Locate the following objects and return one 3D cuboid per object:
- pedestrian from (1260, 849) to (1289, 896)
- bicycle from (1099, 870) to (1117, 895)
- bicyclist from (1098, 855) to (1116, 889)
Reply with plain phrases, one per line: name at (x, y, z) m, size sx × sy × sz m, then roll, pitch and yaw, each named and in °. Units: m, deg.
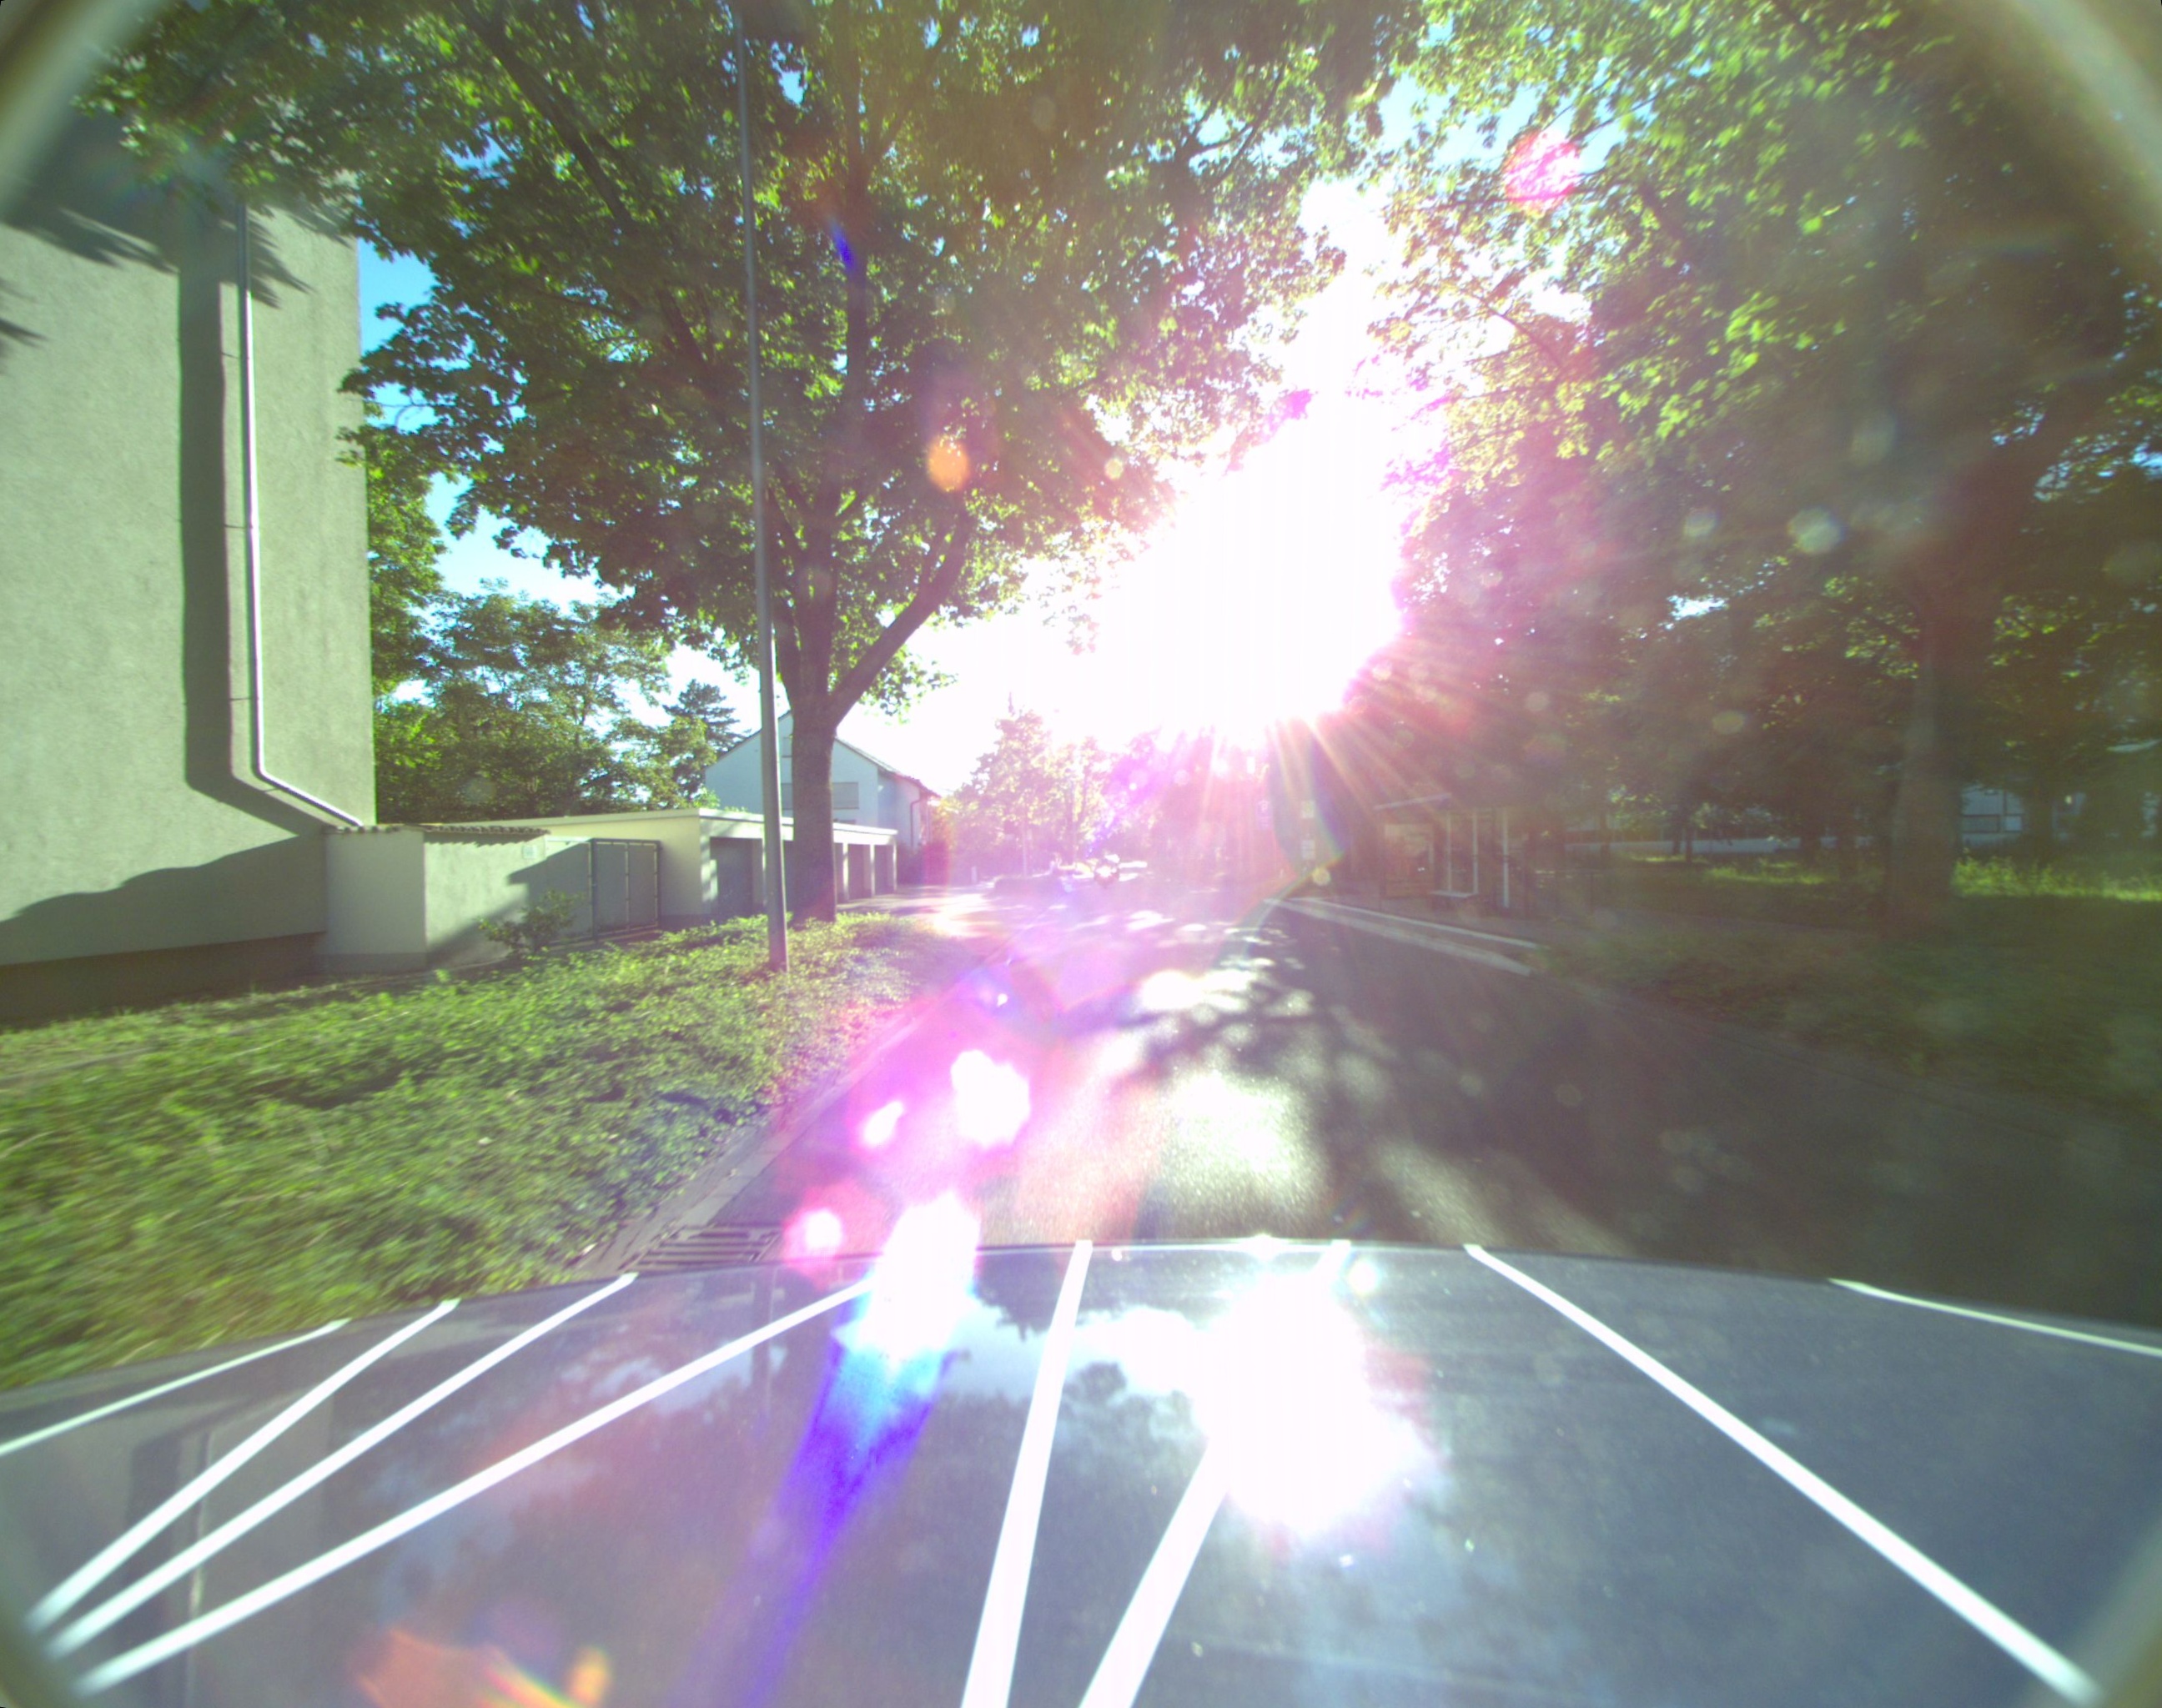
pedestrian at (7.706, 0.725, 30.229) m, size 0.905 × 1.810 × 0.720 m, roll -2°, pitch 0°, yaw -1°
bicycle at (1.328, 1.411, 37.999) m, size 0.829 × 1.182 × 2.302 m, roll -2°, pitch 0°, yaw 1°
bicyclist at (1.310, 0.899, 37.978) m, size 0.819 × 1.635 × 0.744 m, roll -3°, pitch 1°, yaw 1°
